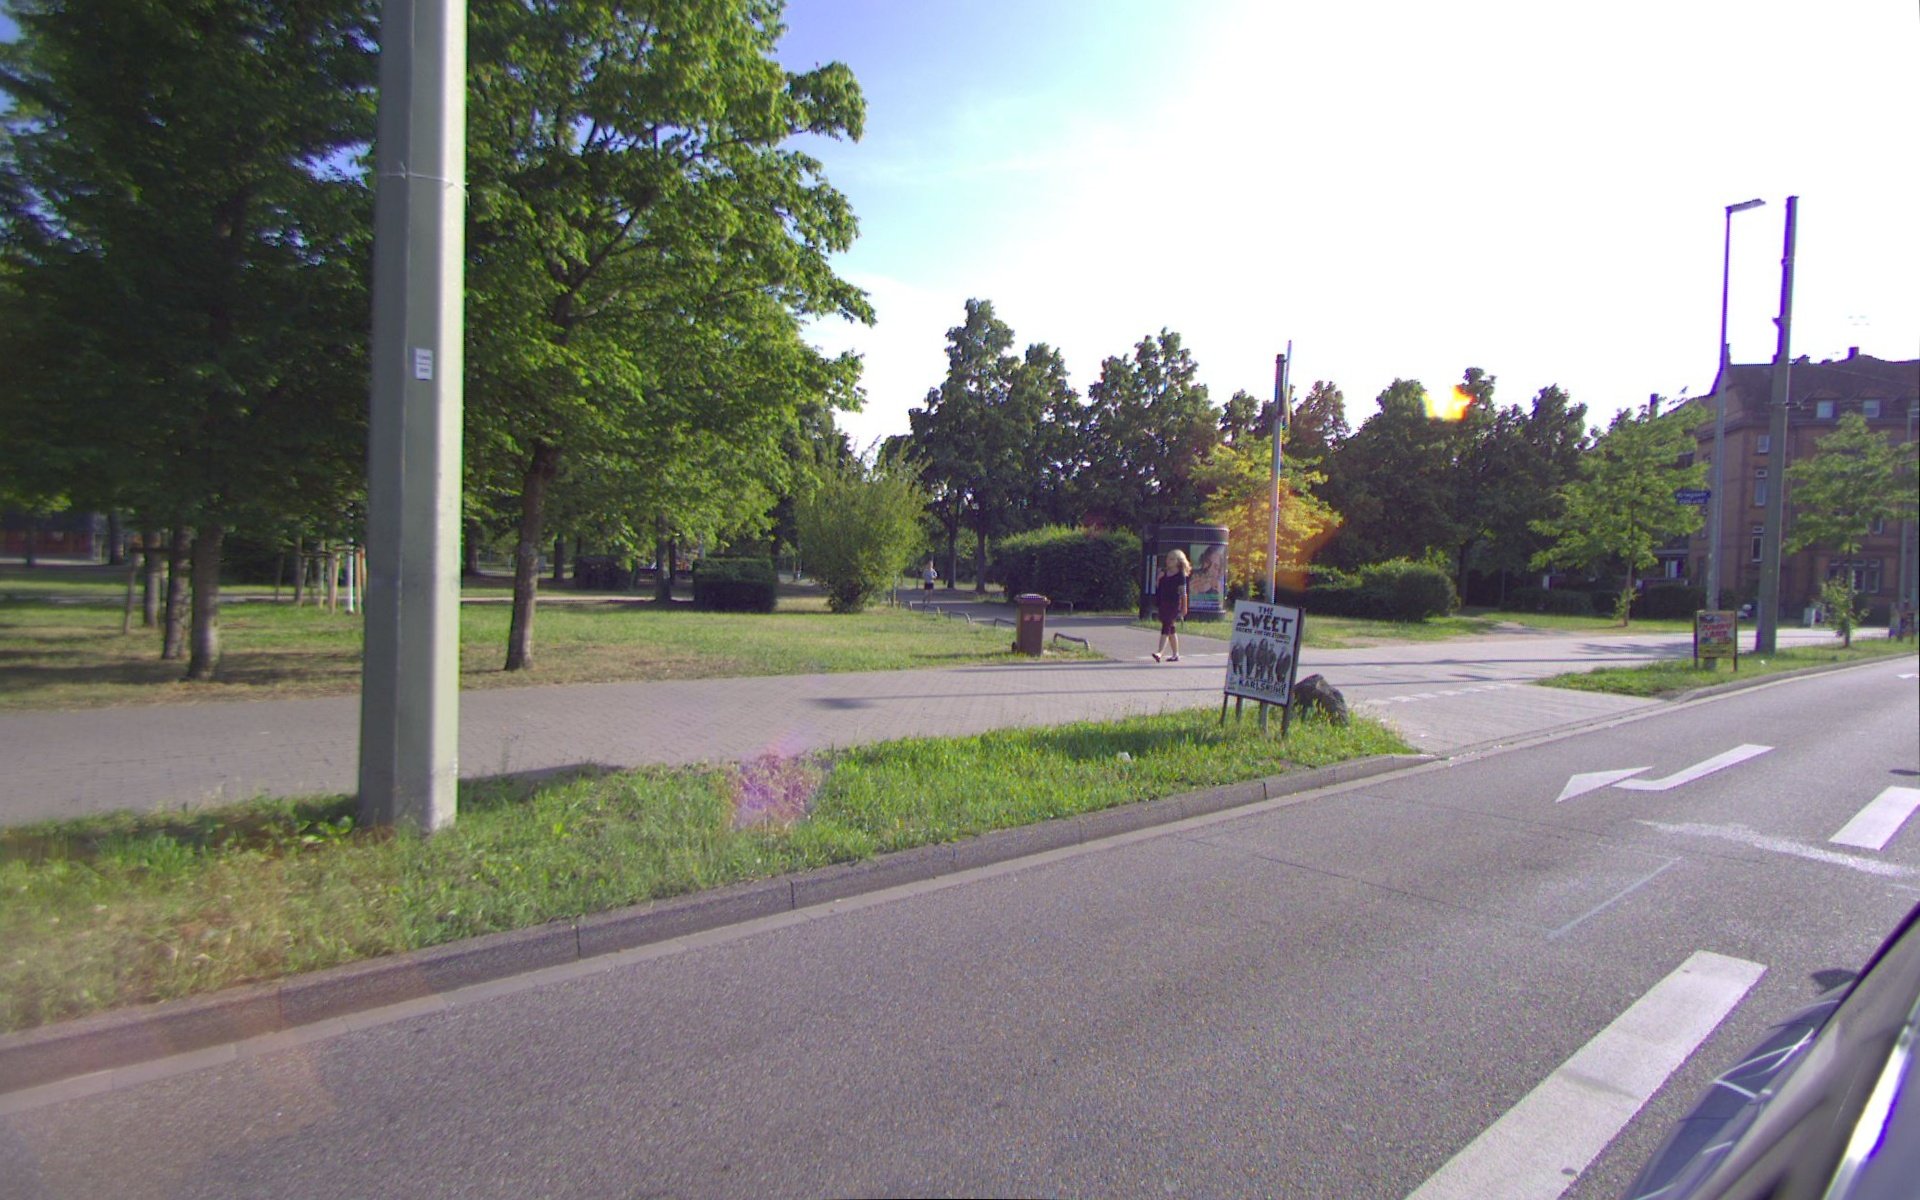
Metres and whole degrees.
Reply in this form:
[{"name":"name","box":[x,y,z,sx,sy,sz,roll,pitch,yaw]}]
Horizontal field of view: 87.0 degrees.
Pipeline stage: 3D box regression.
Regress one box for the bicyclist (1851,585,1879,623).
[{"name":"bicyclist","box":[44.463,0.194,49.730,1.098,1.795,0.754,1,2,-37]}]

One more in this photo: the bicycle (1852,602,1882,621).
[{"name":"bicycle","box":[44.760,0.563,49.952,2.056,0.929,0.740,0,2,-38]}]

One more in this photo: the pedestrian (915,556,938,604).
[{"name":"pedestrian","box":[-1.198,-0.730,36.046,0.609,1.671,0.664,1,1,-16]}]

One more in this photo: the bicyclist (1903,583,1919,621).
[{"name":"bicyclist","box":[45.906,0.097,48.598,0.998,1.795,0.730,1,2,-42]}]

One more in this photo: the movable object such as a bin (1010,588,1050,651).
[{"name":"movable object such as a bin","box":[1.055,0.292,15.327,0.514,0.915,0.504,2,1,-2]}]

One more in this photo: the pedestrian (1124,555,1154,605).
[{"name":"pedestrian","box":[7.999,-0.918,45.132,0.872,2.184,0.914,1,1,-28]}]

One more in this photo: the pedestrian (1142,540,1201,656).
[{"name":"pedestrian","box":[3.236,-0.038,15.486,0.651,1.722,0.558,1,2,-41]}]

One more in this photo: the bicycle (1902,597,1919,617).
[{"name":"bicycle","box":[45.855,0.321,48.571,2.058,0.929,0.739,0,2,-42]}]
